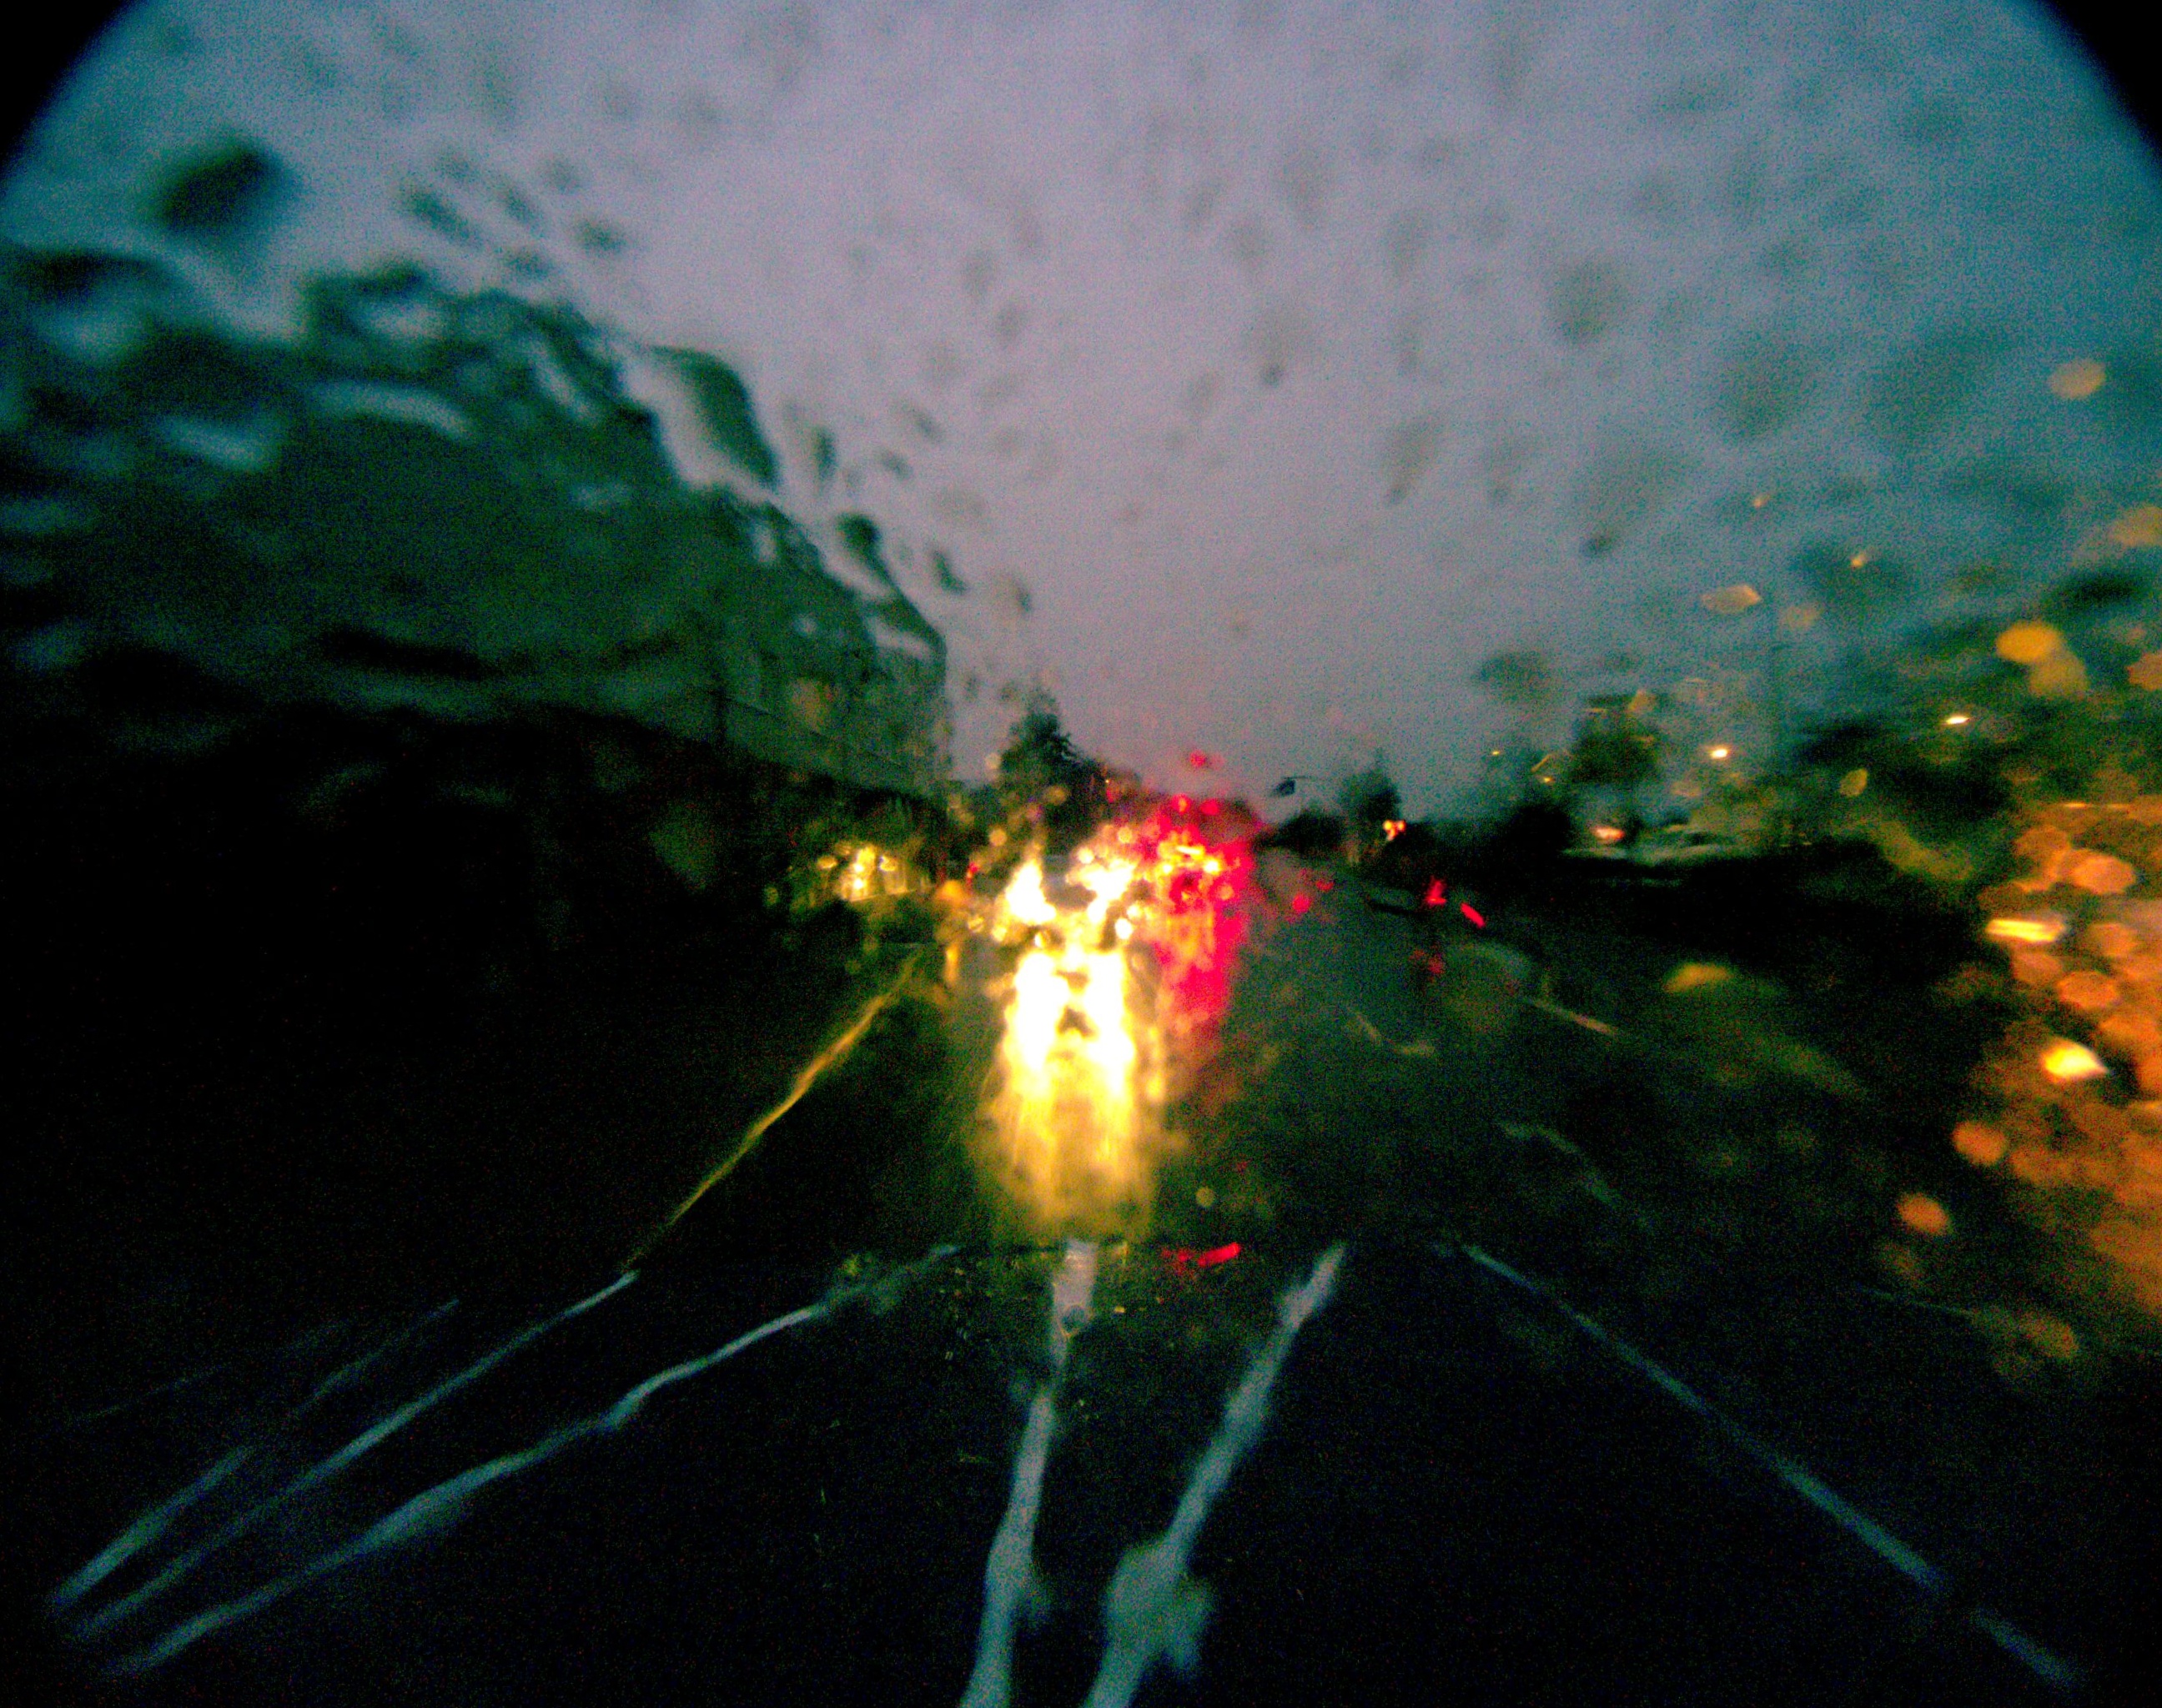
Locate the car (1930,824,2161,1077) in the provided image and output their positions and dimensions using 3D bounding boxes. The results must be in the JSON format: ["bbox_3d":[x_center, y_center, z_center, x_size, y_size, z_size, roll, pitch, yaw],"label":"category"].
[{"bbox_3d":[9.691,0.581,5.824,4.237,1.689,1.899,-4,1,-1],"label":"car"}]

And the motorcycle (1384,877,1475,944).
[{"bbox_3d":[6.377,1.004,14.052,0.867,1.018,2.110,-2,1,5],"label":"motorcycle"}]

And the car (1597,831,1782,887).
[{"bbox_3d":[20.302,0.158,25.457,4.784,1.702,2.032,-1,0,-6],"label":"car"}]

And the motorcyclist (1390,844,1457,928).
[{"bbox_3d":[6.376,0.575,14.195,0.867,1.477,0.909,-2,1,6],"label":"motorcyclist"}]

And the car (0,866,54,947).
[{"bbox_3d":[-22.969,1.044,14.596,3.753,1.559,1.713,0,1,-7],"label":"car"}]

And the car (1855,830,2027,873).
[{"bbox_3d":[32.200,-0.082,28.522,4.443,1.554,2.055,0,-1,-5],"label":"car"}]

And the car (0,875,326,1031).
[{"bbox_3d":[-11.476,1.002,8.958,1.882,1.251,4.163,-1,2,-17],"label":"car"}]

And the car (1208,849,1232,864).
[{"bbox_3d":[14.466,0.276,79.091,1.773,1.422,3.802,-2,0,20],"label":"car"}]

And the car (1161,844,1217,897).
[{"bbox_3d":[3.793,0.524,27.029,1.775,1.713,4.423,-1,0,7],"label":"car"}]

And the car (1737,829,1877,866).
[{"bbox_3d":[31.887,-0.264,33.449,4.443,1.554,2.055,0,-1,-5],"label":"car"}]

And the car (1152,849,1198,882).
[{"bbox_3d":[4.667,0.539,37.269,1.665,1.477,4.004,-1,1,15],"label":"car"}]

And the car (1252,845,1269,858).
[{"bbox_3d":[26.081,-0.349,110.190,1.945,1.795,4.178,-2,0,19],"label":"car"}]

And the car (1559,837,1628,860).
[{"bbox_3d":[36.732,-0.411,54.631,1.687,1.528,4.784,-1,1,-2],"label":"car"}]

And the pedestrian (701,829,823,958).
[{"bbox_3d":[-4.859,0.564,11.682,1.257,1.855,1.303,1,1,4],"label":"pedestrian"}]

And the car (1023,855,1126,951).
[{"bbox_3d":[-0.143,0.863,15.617,1.776,1.632,4.421,-1,0,-1],"label":"car"}]

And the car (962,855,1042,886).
[{"bbox_3d":[-4.383,0.939,42.577,4.181,1.432,1.798,-4,-1,1],"label":"car"}]

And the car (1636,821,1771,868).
[{"bbox_3d":[31.256,-0.439,38.252,5.201,2.269,2.218,0,0,-5],"label":"car"}]

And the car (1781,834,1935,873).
[{"bbox_3d":[31.634,-0.005,30.999,4.443,1.554,2.055,0,-1,-5],"label":"car"}]
